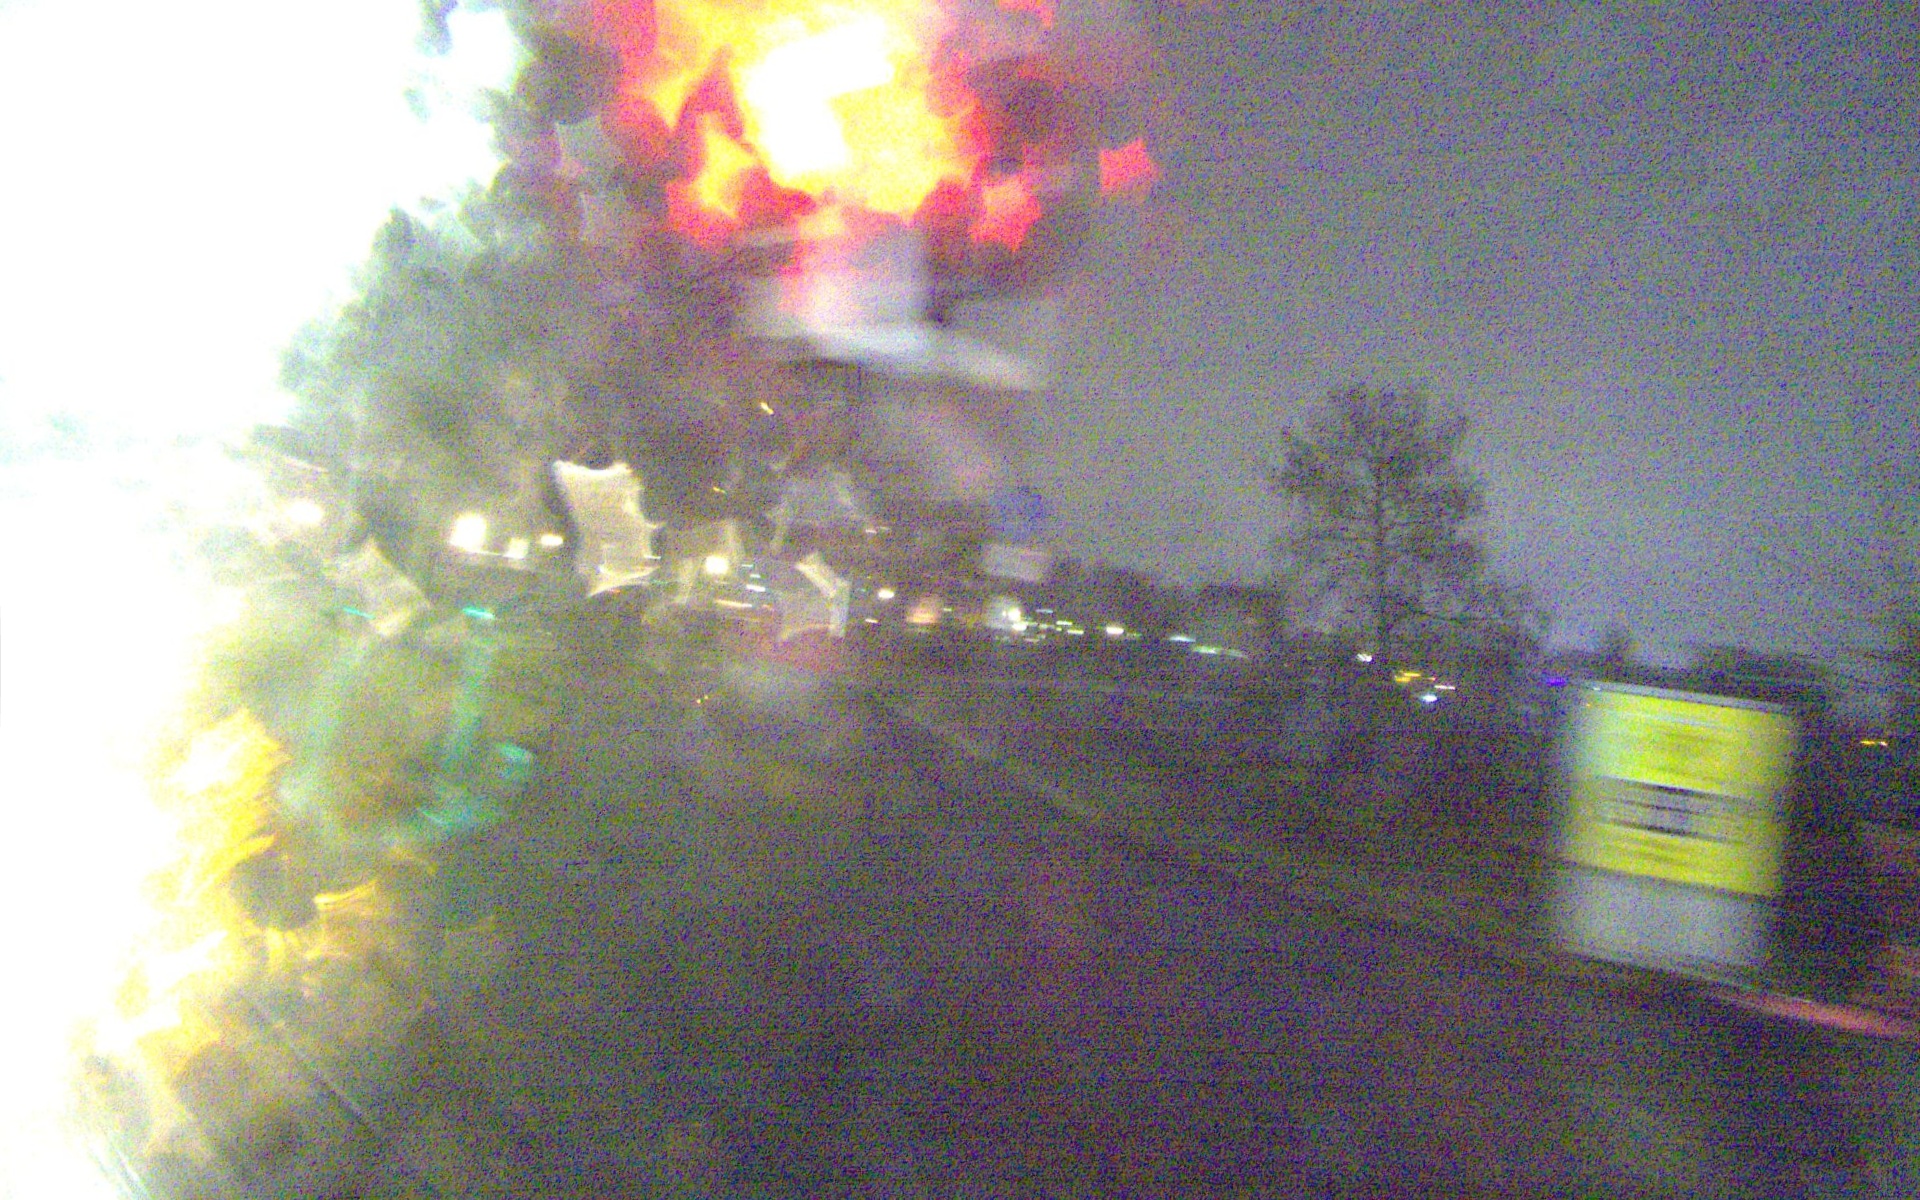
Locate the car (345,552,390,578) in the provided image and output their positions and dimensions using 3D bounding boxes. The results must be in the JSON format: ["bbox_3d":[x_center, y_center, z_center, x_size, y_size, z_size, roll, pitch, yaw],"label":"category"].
[{"bbox_3d":[-45.241,-2.700,76.790,3.857,1.553,1.716,5,-3,41],"label":"car"}]

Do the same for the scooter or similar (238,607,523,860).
[{"bbox_3d":[-2.839,0.648,5.005,0.313,1.111,1.100,6,-1,40],"label":"scooter or similar"}]

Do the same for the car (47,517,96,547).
[{"bbox_3d":[-56.184,-4.299,63.581,3.857,1.513,1.716,5,-3,41],"label":"car"}]

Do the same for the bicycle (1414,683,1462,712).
[{"bbox_3d":[20.589,4.194,43.319,2.398,0.987,0.617,9,-3,-32],"label":"bicycle"}]

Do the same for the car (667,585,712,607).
[{"bbox_3d":[-26.550,-0.401,98.689,4.926,1.553,1.716,5,-3,41],"label":"car"}]

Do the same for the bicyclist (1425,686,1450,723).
[{"bbox_3d":[20.587,4.512,43.341,0.600,1.463,0.611,8,-2,-33],"label":"bicyclist"}]
